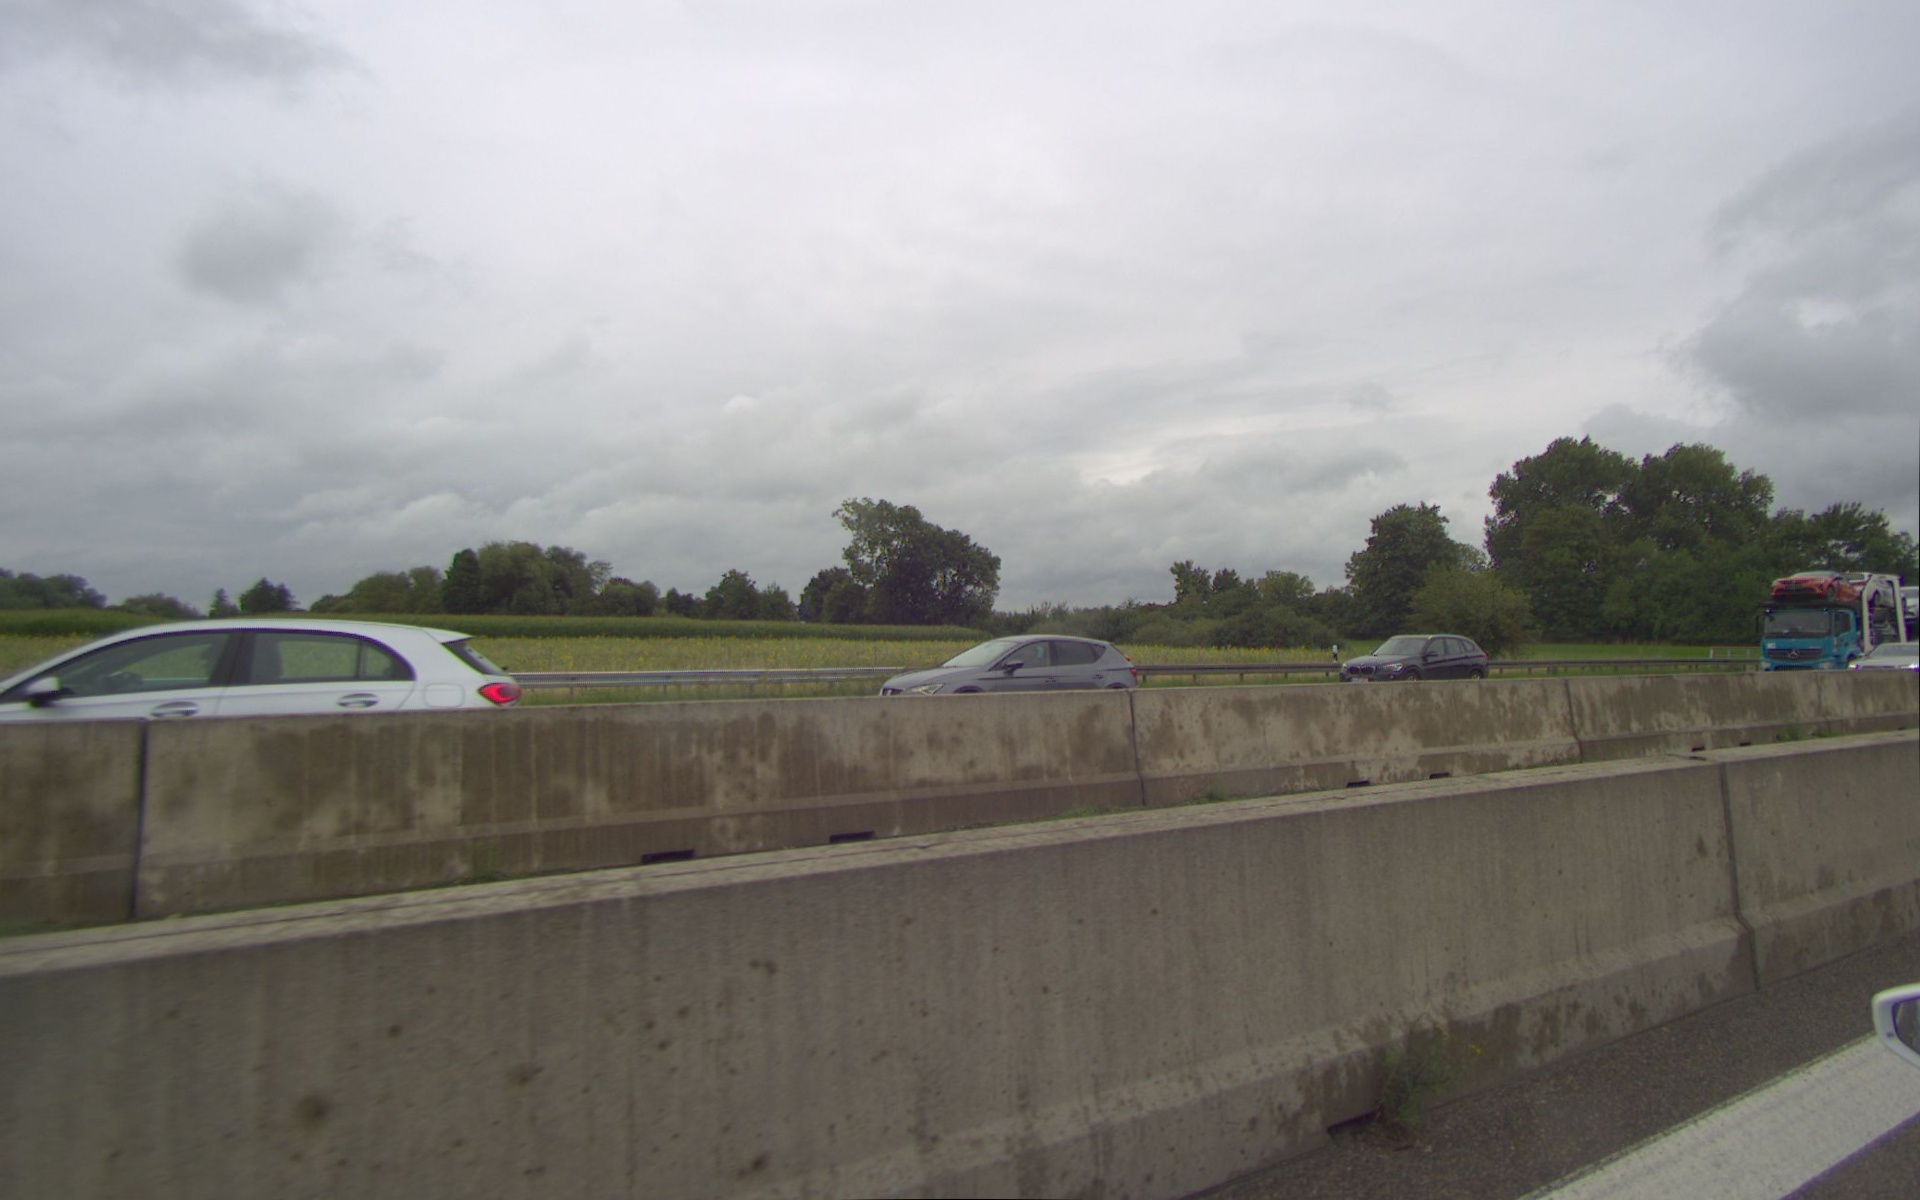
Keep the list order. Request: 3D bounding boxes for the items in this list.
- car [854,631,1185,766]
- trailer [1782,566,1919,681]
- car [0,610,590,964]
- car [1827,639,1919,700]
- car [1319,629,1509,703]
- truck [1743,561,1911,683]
[{"bbox_3d":[0.963,1.377,15.366,4.744,1.733,2.051,1,-1,-30],"label":"car"},{"bbox_3d":[40.166,1.086,42.436,15.520,4.298,2.985,2,0,-30],"label":"trailer"},{"bbox_3d":[-4.878,1.072,6.894,4.124,1.950,1.874,1,-2,-30],"label":"car"},{"bbox_3d":[30.092,2.157,32.128,5.106,1.733,2.083,1,-1,-31],"label":"car"},{"bbox_3d":[11.832,1.646,26.132,4.741,1.733,2.084,1,-1,-29],"label":"car"},{"bbox_3d":[33.155,0.840,38.369,6.162,4.298,2.942,2,0,-30],"label":"truck"}]
